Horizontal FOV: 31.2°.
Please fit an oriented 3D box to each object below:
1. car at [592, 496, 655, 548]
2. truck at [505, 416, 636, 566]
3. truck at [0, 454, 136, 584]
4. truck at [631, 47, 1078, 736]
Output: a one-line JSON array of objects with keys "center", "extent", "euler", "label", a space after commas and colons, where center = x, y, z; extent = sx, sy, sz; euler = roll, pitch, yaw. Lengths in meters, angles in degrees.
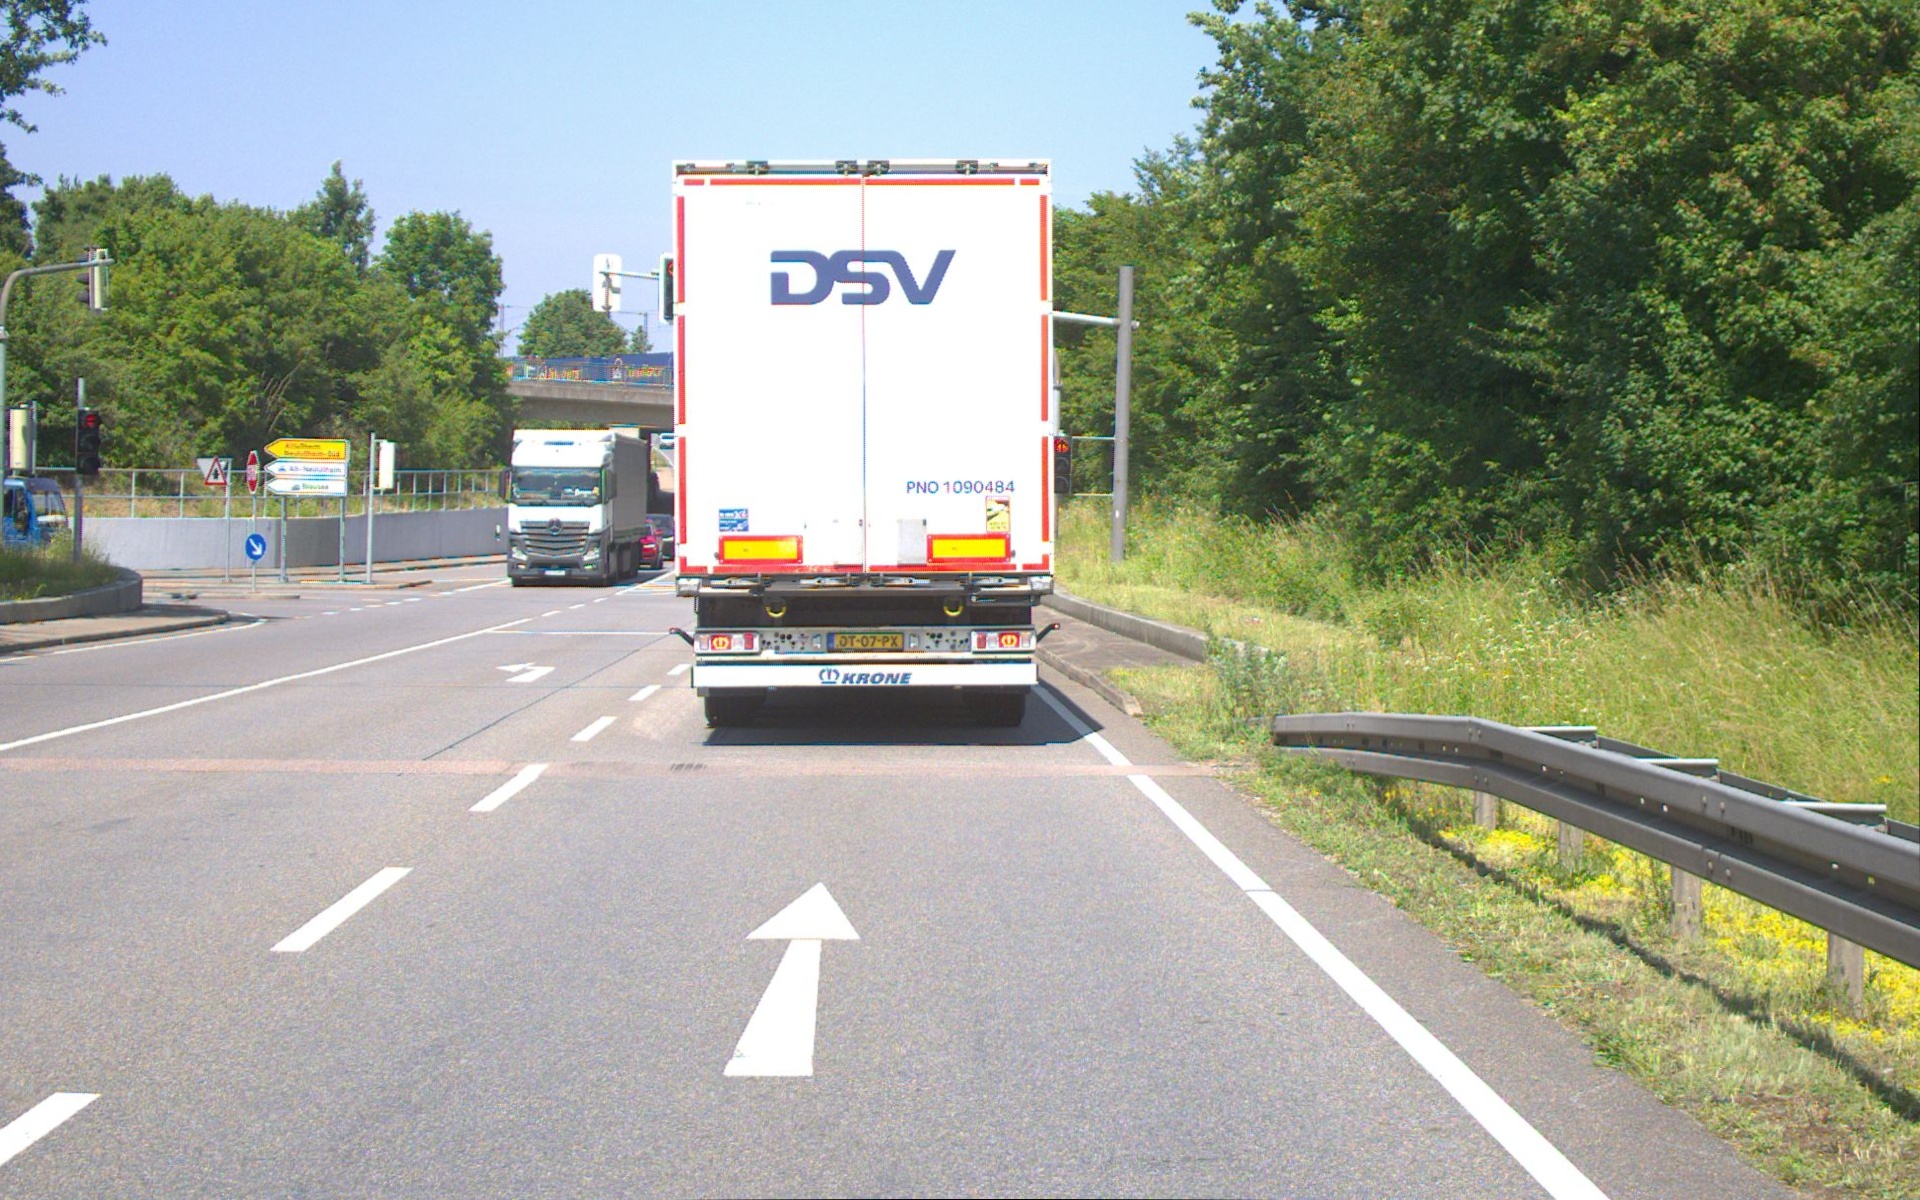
[{"center": [-10.750, -2.511, 109.899], "extent": [1.747, 1.620, 3.704], "euler": [0, 2, -2], "label": "car"}, {"center": [-10.353, -2.916, 92.400], "extent": [2.353, 3.737, 12.627], "euler": [0, 2, -1], "label": "truck"}, {"center": [-19.863, -1.622, 67.872], "extent": [6.414, 2.490, 2.713], "euler": [1, 1, 11], "label": "truck"}, {"center": [-0.896, -1.480, 27.737], "extent": [2.949, 4.553, 9.864], "euler": [0, 1, -2], "label": "truck"}]
